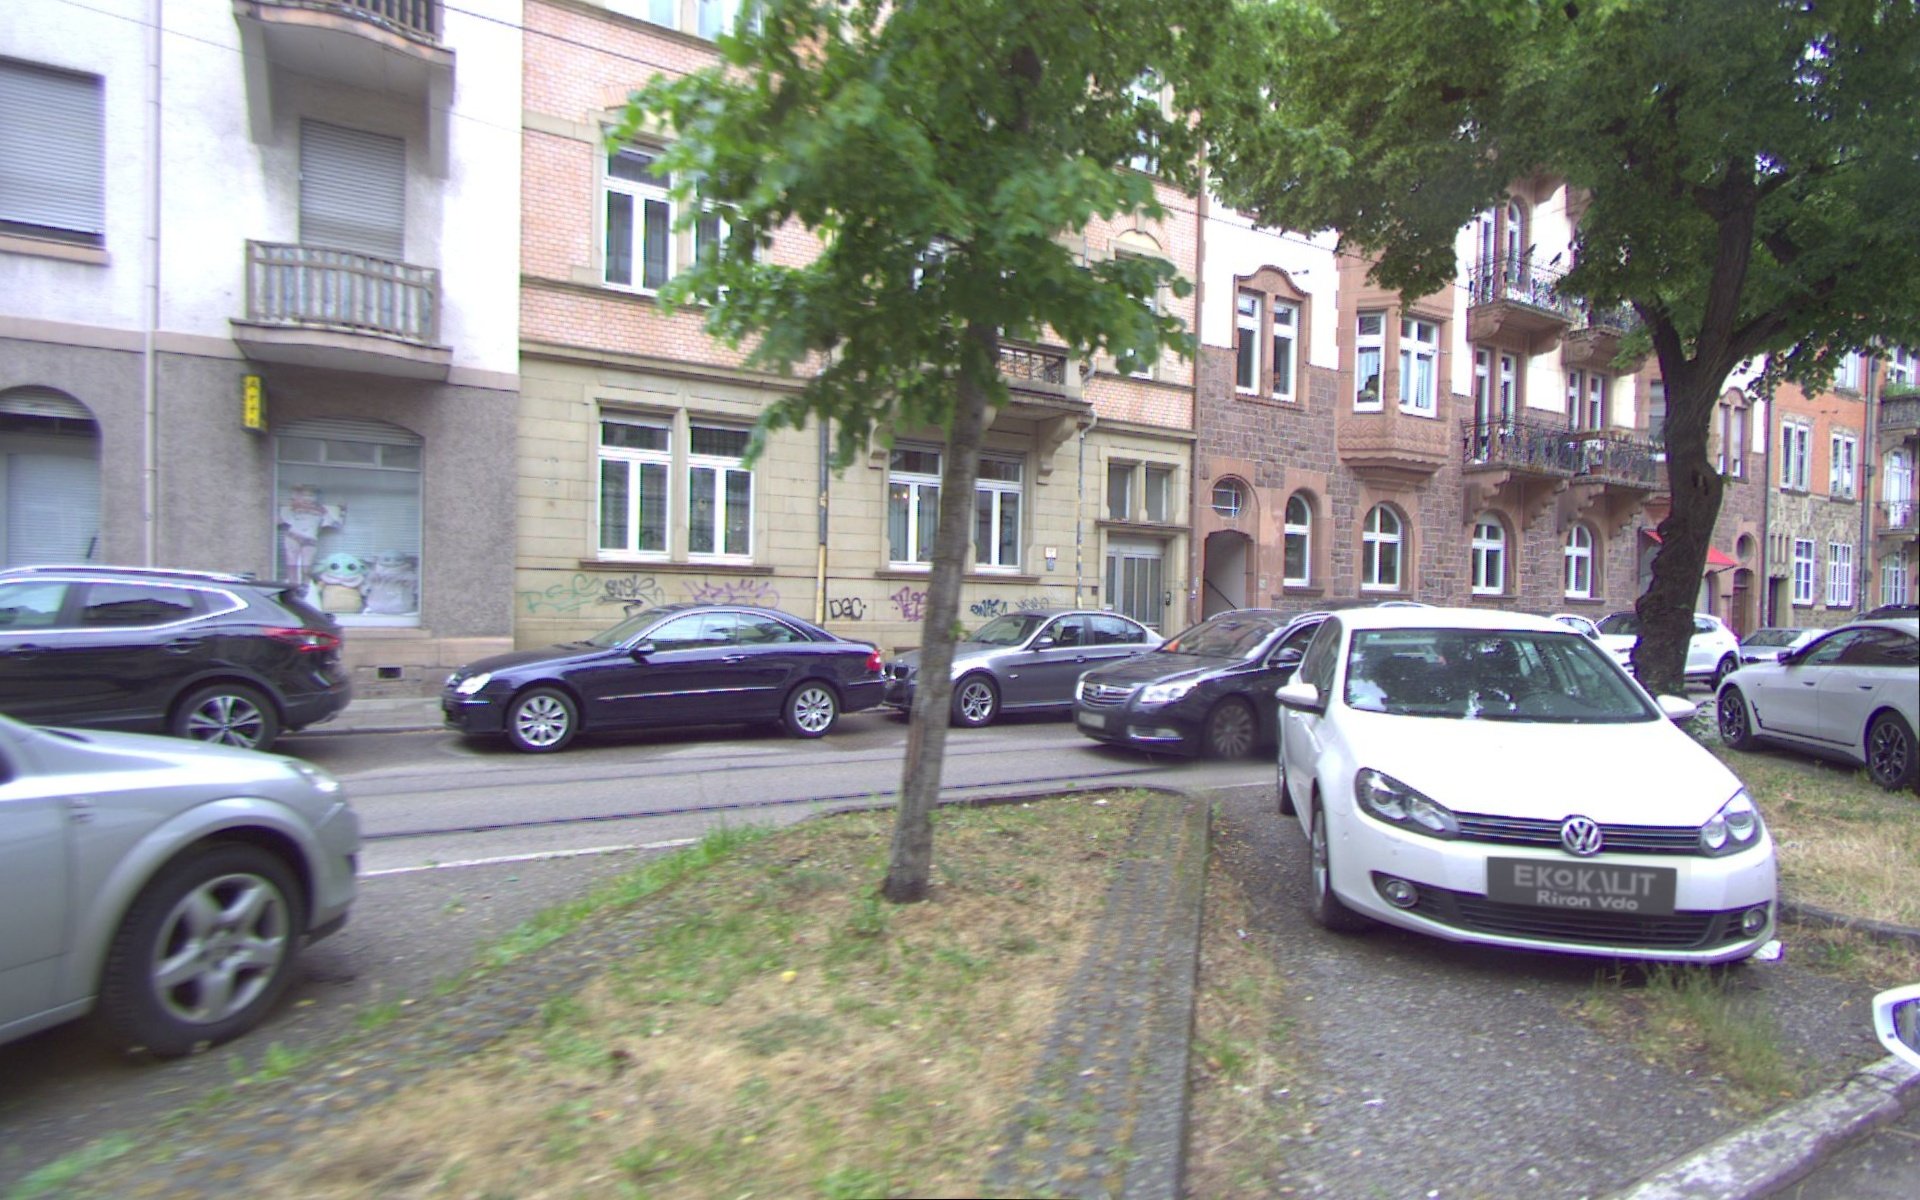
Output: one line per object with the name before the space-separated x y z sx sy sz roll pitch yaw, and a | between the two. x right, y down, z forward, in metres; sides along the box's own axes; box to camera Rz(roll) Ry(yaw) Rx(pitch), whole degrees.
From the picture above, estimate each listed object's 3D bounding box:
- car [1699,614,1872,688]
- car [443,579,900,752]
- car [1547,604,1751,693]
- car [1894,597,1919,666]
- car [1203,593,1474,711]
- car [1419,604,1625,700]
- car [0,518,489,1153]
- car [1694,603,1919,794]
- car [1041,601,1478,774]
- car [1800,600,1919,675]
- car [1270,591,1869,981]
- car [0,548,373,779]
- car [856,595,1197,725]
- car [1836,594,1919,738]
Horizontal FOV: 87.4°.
car | 19.707 1.184 23.933 4.501 1.562 1.732 2 0 -31
car | -2.987 0.618 10.644 4.336 1.509 1.796 2 0 -30
car | 14.320 0.981 20.824 4.501 1.648 1.732 2 0 -31
car | 30.126 0.994 30.010 5.035 1.978 1.872 2 0 -31
car | 6.112 0.788 16.110 4.270 1.650 1.760 2 0 -30
car | 10.334 0.917 18.427 3.679 1.580 1.654 2 0 -30
car | -3.348 0.530 1.930 1.826 1.513 4.566 2 1 16
car | 8.996 0.822 9.292 1.995 1.510 4.544 2 0 15
car | 3.268 0.818 10.681 4.598 1.472 1.796 2 0 -31
car | 24.523 0.994 26.657 5.058 1.805 1.805 2 0 -31
car | 2.844 0.643 5.790 1.826 1.329 4.131 2 1 15
car | -7.312 0.458 8.259 4.223 1.702 1.796 2 0 -30
car | 0.927 0.730 13.201 4.181 1.457 1.796 2 0 -30
car | 11.786 0.784 10.759 1.730 1.655 4.535 2 0 15
